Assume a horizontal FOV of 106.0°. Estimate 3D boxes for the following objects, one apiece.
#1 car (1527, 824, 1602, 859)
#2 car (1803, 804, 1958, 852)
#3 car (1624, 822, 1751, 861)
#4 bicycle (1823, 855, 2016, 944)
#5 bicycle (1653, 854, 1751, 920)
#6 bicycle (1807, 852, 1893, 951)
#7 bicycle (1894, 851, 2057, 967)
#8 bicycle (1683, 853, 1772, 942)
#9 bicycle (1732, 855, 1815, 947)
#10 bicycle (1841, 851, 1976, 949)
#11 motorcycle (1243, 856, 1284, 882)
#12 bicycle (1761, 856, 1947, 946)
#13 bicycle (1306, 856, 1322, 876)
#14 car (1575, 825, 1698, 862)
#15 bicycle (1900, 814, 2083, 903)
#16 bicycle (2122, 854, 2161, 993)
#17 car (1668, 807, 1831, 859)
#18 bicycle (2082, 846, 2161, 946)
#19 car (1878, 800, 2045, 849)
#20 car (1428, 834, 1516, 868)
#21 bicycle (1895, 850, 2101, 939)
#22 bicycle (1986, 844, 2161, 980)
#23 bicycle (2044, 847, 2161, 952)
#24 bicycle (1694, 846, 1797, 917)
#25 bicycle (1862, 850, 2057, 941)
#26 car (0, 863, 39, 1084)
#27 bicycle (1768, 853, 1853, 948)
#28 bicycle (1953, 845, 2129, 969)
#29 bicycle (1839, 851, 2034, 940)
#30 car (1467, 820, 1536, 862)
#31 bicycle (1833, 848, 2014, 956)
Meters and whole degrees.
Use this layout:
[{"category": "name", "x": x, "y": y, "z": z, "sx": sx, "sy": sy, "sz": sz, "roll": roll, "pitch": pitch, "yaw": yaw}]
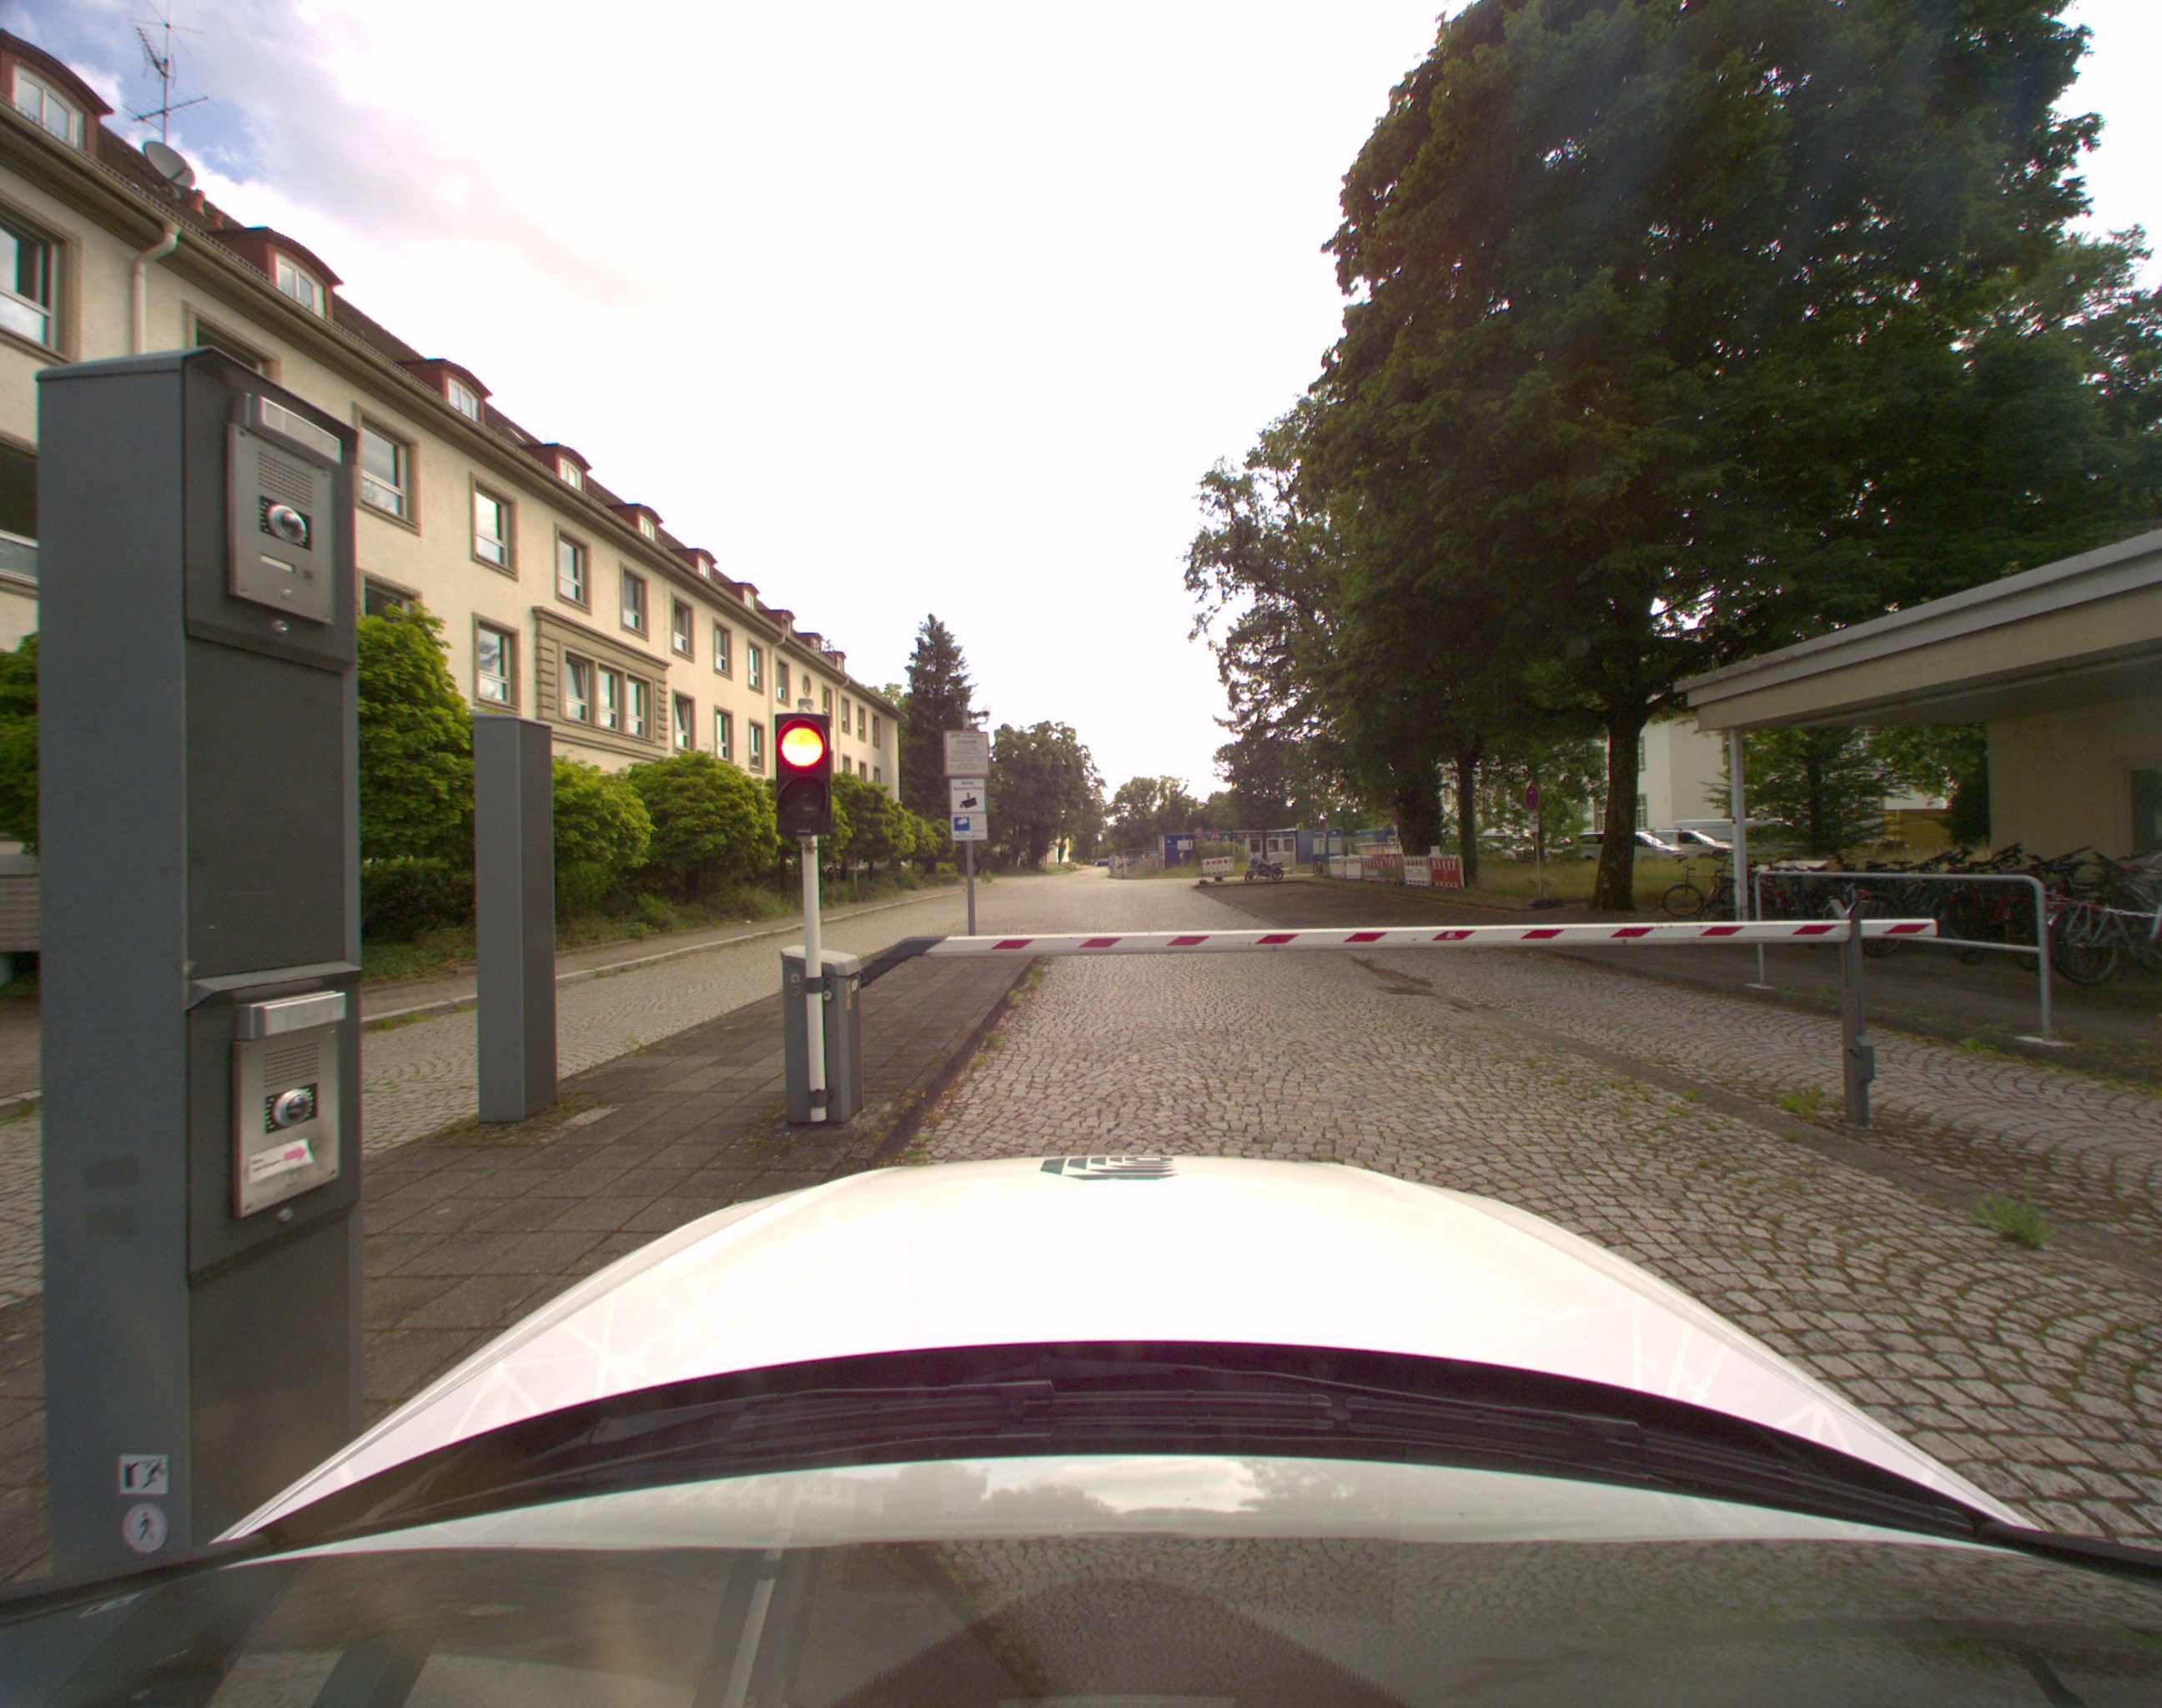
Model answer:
[{"category": "car", "x": 30.727, "y": -0.743, "z": 51.961, "sx": 1.986, "sy": 2.013, "sz": 4.842, "roll": -2, "pitch": 0, "yaw": 2}, {"category": "car", "x": 40.340, "y": -1.230, "z": 41.358, "sx": 2.431, "sy": 1.957, "sz": 5.697, "roll": -2, "pitch": -2, "yaw": 4}, {"category": "car", "x": 31.090, "y": -0.591, "z": 41.928, "sx": 2.004, "sy": 1.789, "sz": 4.798, "roll": -1, "pitch": -1, "yaw": -26}, {"category": "bicycle", "x": 11.068, "y": 0.561, "z": 10.854, "sx": 0.371, "sy": 1.067, "sz": 1.907, "roll": -2, "pitch": 0, "yaw": -8}, {"category": "bicycle", "x": 11.083, "y": 0.557, "z": 14.597, "sx": 0.503, "sy": 1.086, "sz": 1.585, "roll": -2, "pitch": 1, "yaw": -1}, {"category": "bicycle", "x": 9.728, "y": 0.574, "z": 10.293, "sx": 1.387, "sy": 1.171, "sz": 0.355, "roll": -1, "pitch": -3, "yaw": -31}, {"category": "bicycle", "x": 9.905, "y": 0.582, "z": 9.015, "sx": 1.749, "sy": 1.171, "sz": 0.494, "roll": -1, "pitch": -3, "yaw": -19}, {"category": "bicycle", "x": 9.174, "y": 0.597, "z": 11.546, "sx": 1.387, "sy": 1.171, "sz": 0.429, "roll": -1, "pitch": -3, "yaw": -30}, {"category": "bicycle", "x": 9.377, "y": 0.619, "z": 11.011, "sx": 1.387, "sy": 1.171, "sz": 0.355, "roll": -1, "pitch": -3, "yaw": -31}, {"category": "bicycle", "x": 10.175, "y": 0.555, "z": 10.021, "sx": 1.377, "sy": 1.171, "sz": 0.358, "roll": 0, "pitch": -3, "yaw": -7}, {"category": "motorcycle", "x": 9.352, "y": 0.757, "z": 41.686, "sx": 1.950, "sy": 1.194, "sz": 0.461, "roll": -3, "pitch": 4, "yaw": 0}, {"category": "bicycle", "x": 10.470, "y": 0.607, "z": 11.122, "sx": 0.446, "sy": 1.119, "sz": 1.785, "roll": -1, "pitch": -1, "yaw": -23}, {"category": "bicycle", "x": 12.355, "y": 0.640, "z": 43.169, "sx": 0.330, "sy": 1.008, "sz": 1.726, "roll": -2, "pitch": -2, "yaw": 2}, {"category": "car", "x": 28.302, "y": -0.498, "z": 41.689, "sx": 2.004, "sy": 1.650, "sz": 4.798, "roll": -1, "pitch": -1, "yaw": -26}, {"category": "bicycle", "x": 12.636, "y": 0.083, "z": 11.402, "sx": 0.370, "sy": 1.128, "sz": 1.898, "roll": -2, "pitch": -2, "yaw": 0}, {"category": "bicycle", "x": 9.900, "y": 0.567, "z": 7.084, "sx": 1.704, "sy": 1.160, "sz": 0.399, "roll": -1, "pitch": -3, "yaw": -17}, {"category": "car", "x": 34.189, "y": -0.981, "z": 41.923, "sx": 2.005, "sy": 2.308, "sz": 6.141, "roll": -1, "pitch": -1, "yaw": -29}, {"category": "bicycle", "x": 12.365, "y": 0.459, "z": 8.854, "sx": 0.371, "sy": 1.119, "sz": 1.892, "roll": -2, "pitch": -2, "yaw": -8}, {"category": "car", "x": 44.192, "y": -1.388, "z": 41.164, "sx": 2.431, "sy": 1.957, "sz": 5.697, "roll": -2, "pitch": -2, "yaw": 4}, {"category": "car", "x": 22.784, "y": -0.177, "z": 47.590, "sx": 4.201, "sy": 1.820, "sz": 2.002, "roll": -2, "pitch": -1, "yaw": 4}, {"category": "bicycle", "x": 12.192, "y": 0.530, "z": 10.932, "sx": 0.371, "sy": 1.083, "sz": 1.892, "roll": -2, "pitch": -2, "yaw": -8}, {"category": "bicycle", "x": 9.627, "y": 0.513, "z": 7.654, "sx": 1.800, "sy": 1.171, "sz": 0.581, "roll": -2, "pitch": -3, "yaw": -10}, {"category": "bicycle", "x": 11.835, "y": 0.490, "z": 8.804, "sx": 0.371, "sy": 1.119, "sz": 1.893, "roll": -2, "pitch": -1, "yaw": -8}, {"category": "bicycle", "x": 11.684, "y": 0.491, "z": 14.378, "sx": 0.502, "sy": 1.171, "sz": 1.555, "roll": -2, "pitch": -3, "yaw": 1}, {"category": "bicycle", "x": 11.785, "y": 0.529, "z": 11.026, "sx": 0.371, "sy": 1.119, "sz": 1.893, "roll": -2, "pitch": -1, "yaw": -8}, {"category": "car", "x": -10.792, "y": 0.876, "z": 5.688, "sx": 4.423, "sy": 1.751, "sz": 1.858, "roll": 2, "pitch": 0, "yaw": -2}, {"category": "bicycle", "x": 9.546, "y": 0.584, "z": 10.646, "sx": 1.387, "sy": 1.171, "sz": 0.355, "roll": -1, "pitch": -3, "yaw": -31}, {"category": "bicycle", "x": 10.020, "y": 0.525, "z": 8.496, "sx": 1.805, "sy": 1.171, "sz": 0.494, "roll": -1, "pitch": -3, "yaw": -19}, {"category": "bicycle", "x": 11.415, "y": 0.539, "z": 10.972, "sx": 0.371, "sy": 1.081, "sz": 1.892, "roll": -2, "pitch": -2, "yaw": -8}, {"category": "car", "x": 26.581, "y": -0.777, "z": 51.670, "sx": 1.984, "sy": 2.424, "sz": 5.364, "roll": -2, "pitch": -1, "yaw": 5}, {"category": "bicycle", "x": 9.925, "y": 0.555, "z": 9.606, "sx": 1.797, "sy": 1.171, "sz": 0.358, "roll": -2, "pitch": -3, "yaw": -4}]
